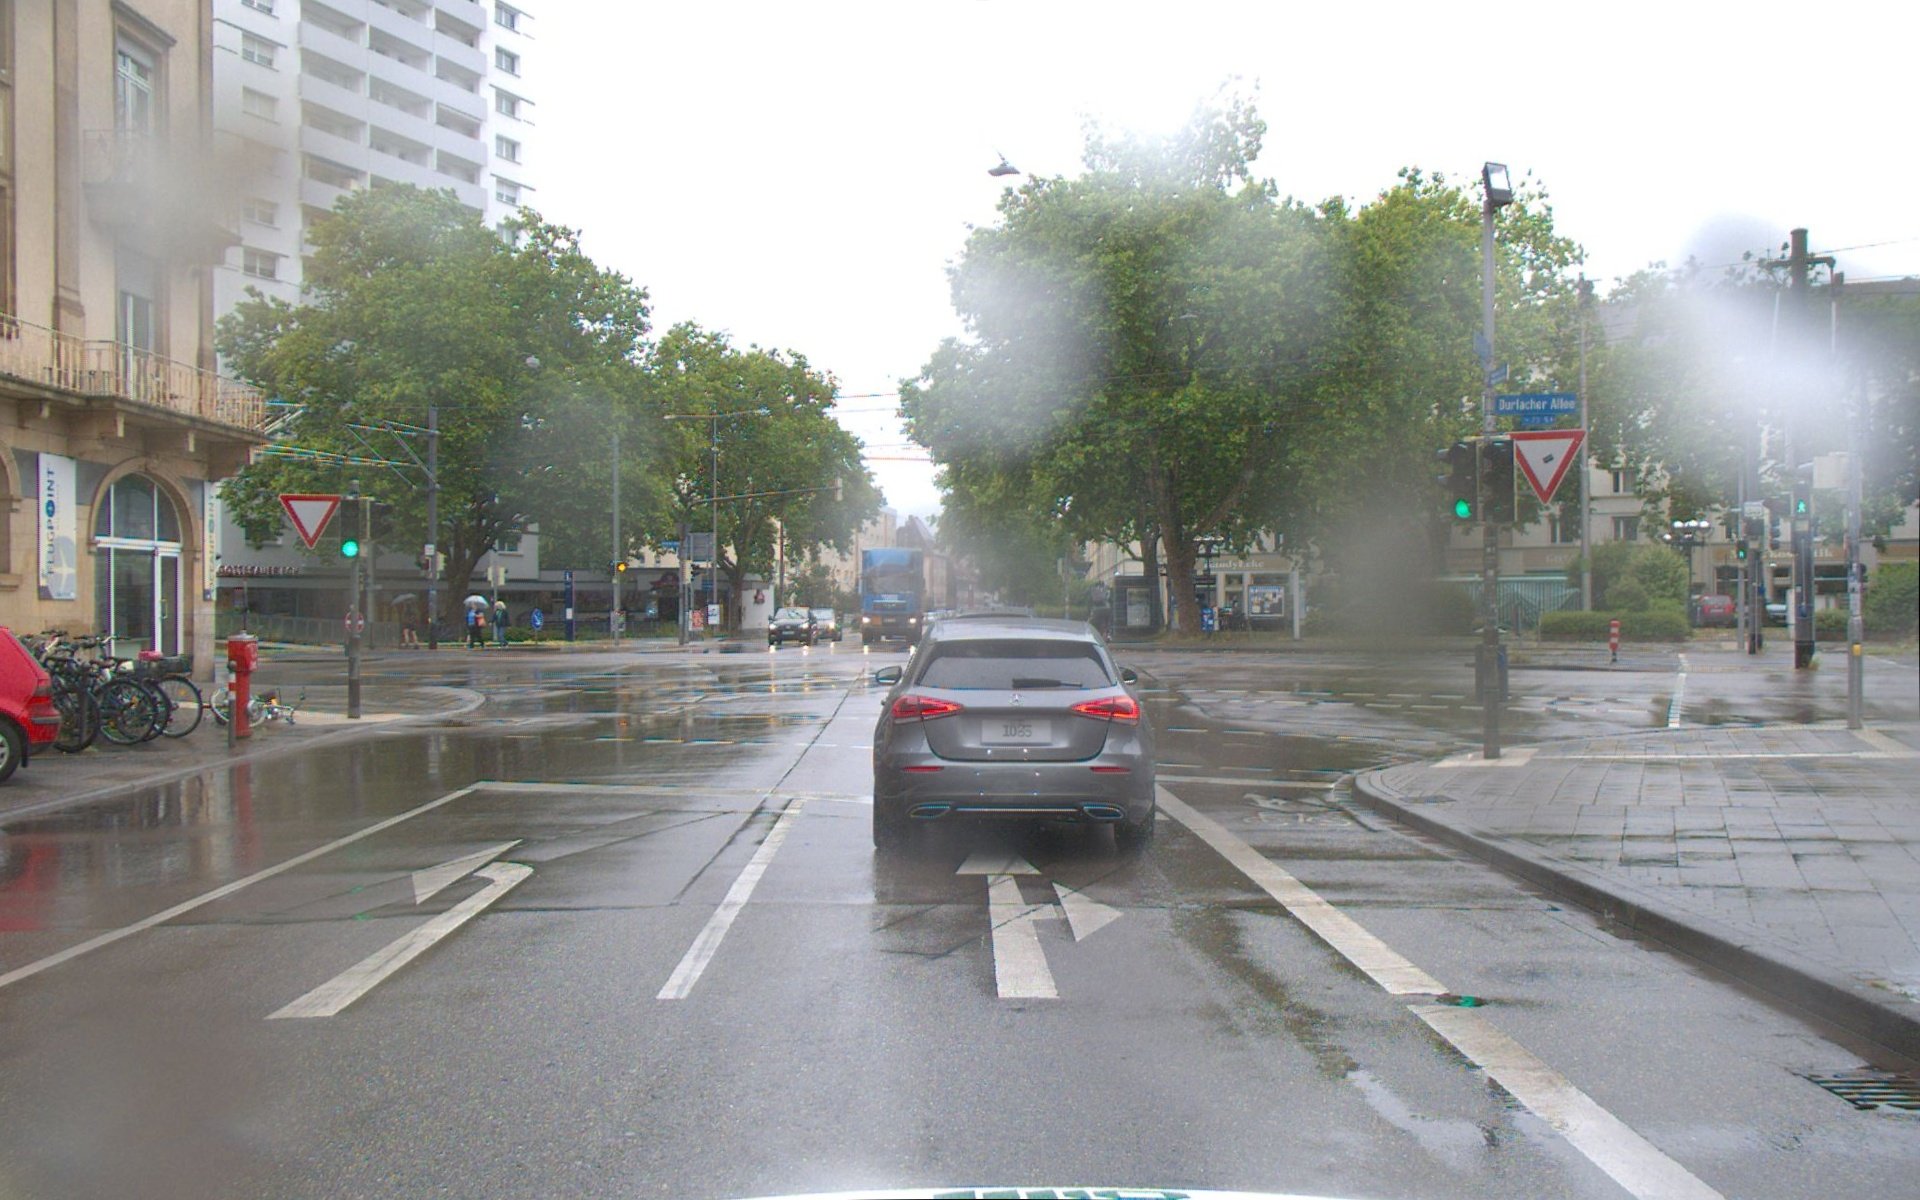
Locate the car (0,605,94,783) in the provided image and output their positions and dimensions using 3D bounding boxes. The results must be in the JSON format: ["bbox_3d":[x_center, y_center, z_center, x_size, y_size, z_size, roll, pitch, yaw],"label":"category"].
[{"bbox_3d":[-9.824,0.799,14.139,3.968,1.534,1.775,1,0,-44],"label":"car"}]

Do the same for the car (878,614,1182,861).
[{"bbox_3d":[0.386,0.813,11.347,1.755,1.396,3.506,1,0,-1],"label":"car"}]

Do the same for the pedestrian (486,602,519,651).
[{"bbox_3d":[-16.021,0.916,57.928,0.817,1.677,0.756,-2,-1,15],"label":"pedestrian"}]

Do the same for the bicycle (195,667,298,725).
[{"bbox_3d":[-9.280,1.237,21.487,1.029,0.675,1.462,2,-2,-31],"label":"bicycle"}]

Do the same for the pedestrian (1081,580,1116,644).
[{"bbox_3d":[3.170,0.267,37.826,0.728,1.422,1.048,-2,0,6],"label":"pedestrian"}]

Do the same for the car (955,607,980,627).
[{"bbox_3d":[0.600,1.436,139.128,1.953,1.601,3.998,-1,-1,-2],"label":"car"}]

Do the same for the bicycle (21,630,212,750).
[{"bbox_3d":[-9.312,0.988,18.293,1.774,1.205,0.475,3,-1,-3],"label":"bicycle"}]

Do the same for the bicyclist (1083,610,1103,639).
[{"bbox_3d":[9.128,1.707,113.602,0.924,1.901,1.136,-1,-5,-19],"label":"bicyclist"}]

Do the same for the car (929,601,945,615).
[{"bbox_3d":[-2.995,1.044,214.826,1.850,1.868,4.001,-1,-1,3],"label":"car"}]

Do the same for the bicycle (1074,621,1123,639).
[{"bbox_3d":[9.542,2.049,113.773,3.158,1.132,1.048,-1,-5,-20],"label":"bicycle"}]

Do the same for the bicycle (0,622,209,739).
[{"bbox_3d":[-10.879,1.005,21.028,2.295,1.369,0.639,-2,0,-6],"label":"bicycle"}]

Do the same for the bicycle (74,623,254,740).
[{"bbox_3d":[-9.551,0.969,19.864,1.935,1.353,0.438,-1,0,1],"label":"bicycle"}]

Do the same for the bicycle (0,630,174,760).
[{"bbox_3d":[-9.246,0.976,17.248,1.772,1.205,0.601,3,0,5],"label":"bicycle"}]

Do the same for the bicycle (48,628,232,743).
[{"bbox_3d":[-9.321,0.967,18.826,1.774,1.205,0.468,3,-1,-3],"label":"bicycle"}]

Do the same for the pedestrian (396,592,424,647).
[{"bbox_3d":[-18.833,0.671,56.630,0.674,1.871,0.630,-1,-1,-43],"label":"pedestrian"}]

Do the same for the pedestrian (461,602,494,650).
[{"bbox_3d":[-17.249,0.931,59.167,0.774,1.677,0.817,-2,-1,15],"label":"pedestrian"}]

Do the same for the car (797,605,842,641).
[{"bbox_3d":[-6.346,1.020,75.036,1.691,1.573,4.339,-1,0,-1],"label":"car"}]

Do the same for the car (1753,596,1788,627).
[{"bbox_3d":[42.572,0.631,86.921,1.518,1.492,3.364,-1,-3,24],"label":"car"}]

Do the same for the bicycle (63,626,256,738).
[{"bbox_3d":[-9.356,0.951,19.366,1.941,1.205,0.474,3,-1,-4],"label":"bicycle"}]

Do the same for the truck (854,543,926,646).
[{"bbox_3d":[-2.943,-0.193,72.184,2.788,4.096,10.313,-1,0,-1],"label":"truck"}]

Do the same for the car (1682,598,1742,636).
[{"bbox_3d":[31.653,0.719,69.688,1.627,1.548,3.682,-1,-1,14],"label":"car"}]

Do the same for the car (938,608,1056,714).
[{"bbox_3d":[0.476,0.837,24.401,1.574,1.396,3.999,-1,0,-1],"label":"car"}]

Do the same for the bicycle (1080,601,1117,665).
[{"bbox_3d":[3.172,0.731,37.711,0.733,1.401,2.709,-2,0,6],"label":"bicycle"}]

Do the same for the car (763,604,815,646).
[{"bbox_3d":[-6.735,0.984,65.571,1.708,1.573,3.777,-1,0,-1],"label":"car"}]

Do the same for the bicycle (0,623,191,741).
[{"bbox_3d":[-10.799,0.998,20.368,2.295,1.370,0.639,-1,0,-6],"label":"bicycle"}]
